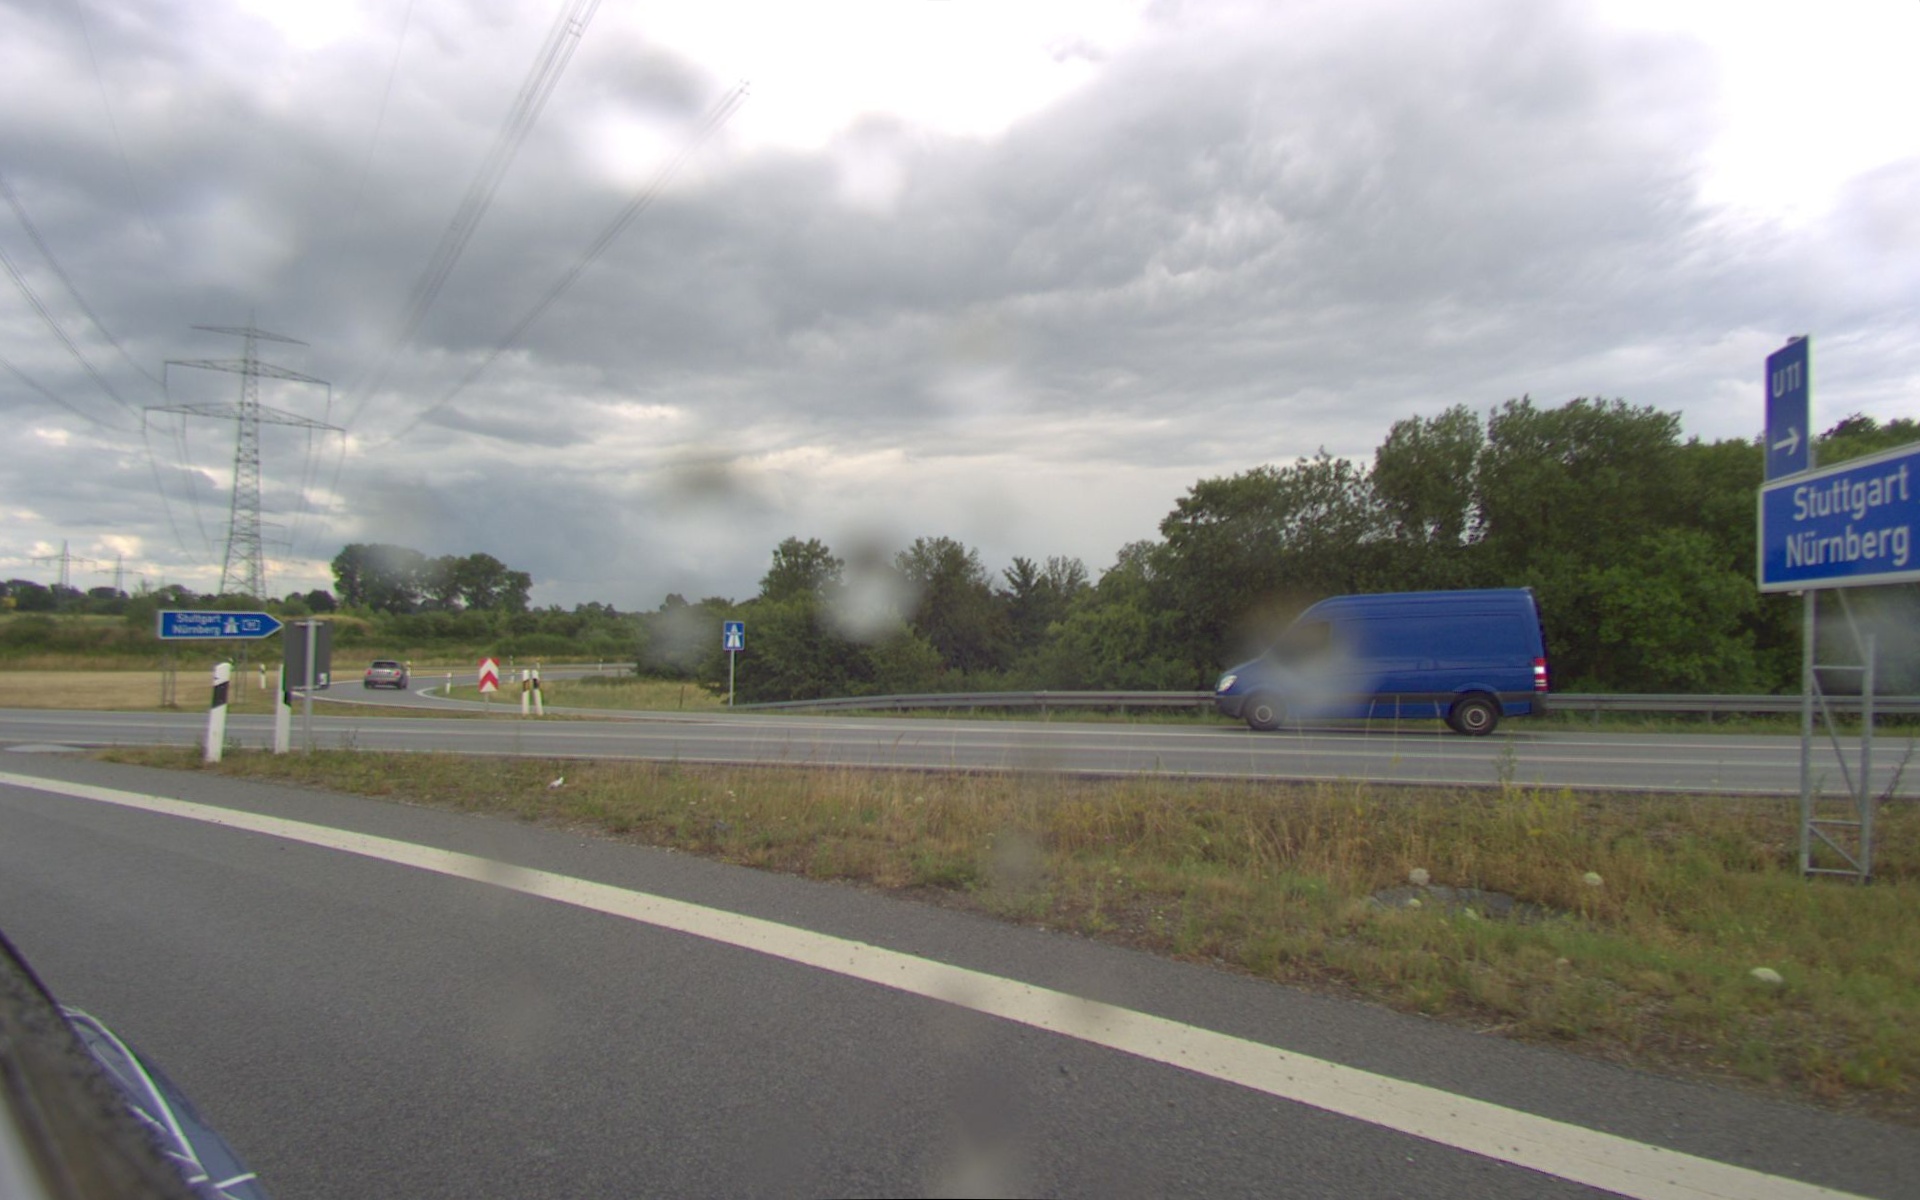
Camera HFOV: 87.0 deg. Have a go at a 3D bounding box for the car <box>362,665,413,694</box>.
[{"bbox_3d":[-29.468,4.075,52.169,1.711,1.449,3.784,3,-4,-21],"label":"car"}]

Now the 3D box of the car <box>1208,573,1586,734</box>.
[{"bbox_3d":[8.102,1.107,19.486,6.237,2.747,2.317,-2,-7,21],"label":"car"}]
